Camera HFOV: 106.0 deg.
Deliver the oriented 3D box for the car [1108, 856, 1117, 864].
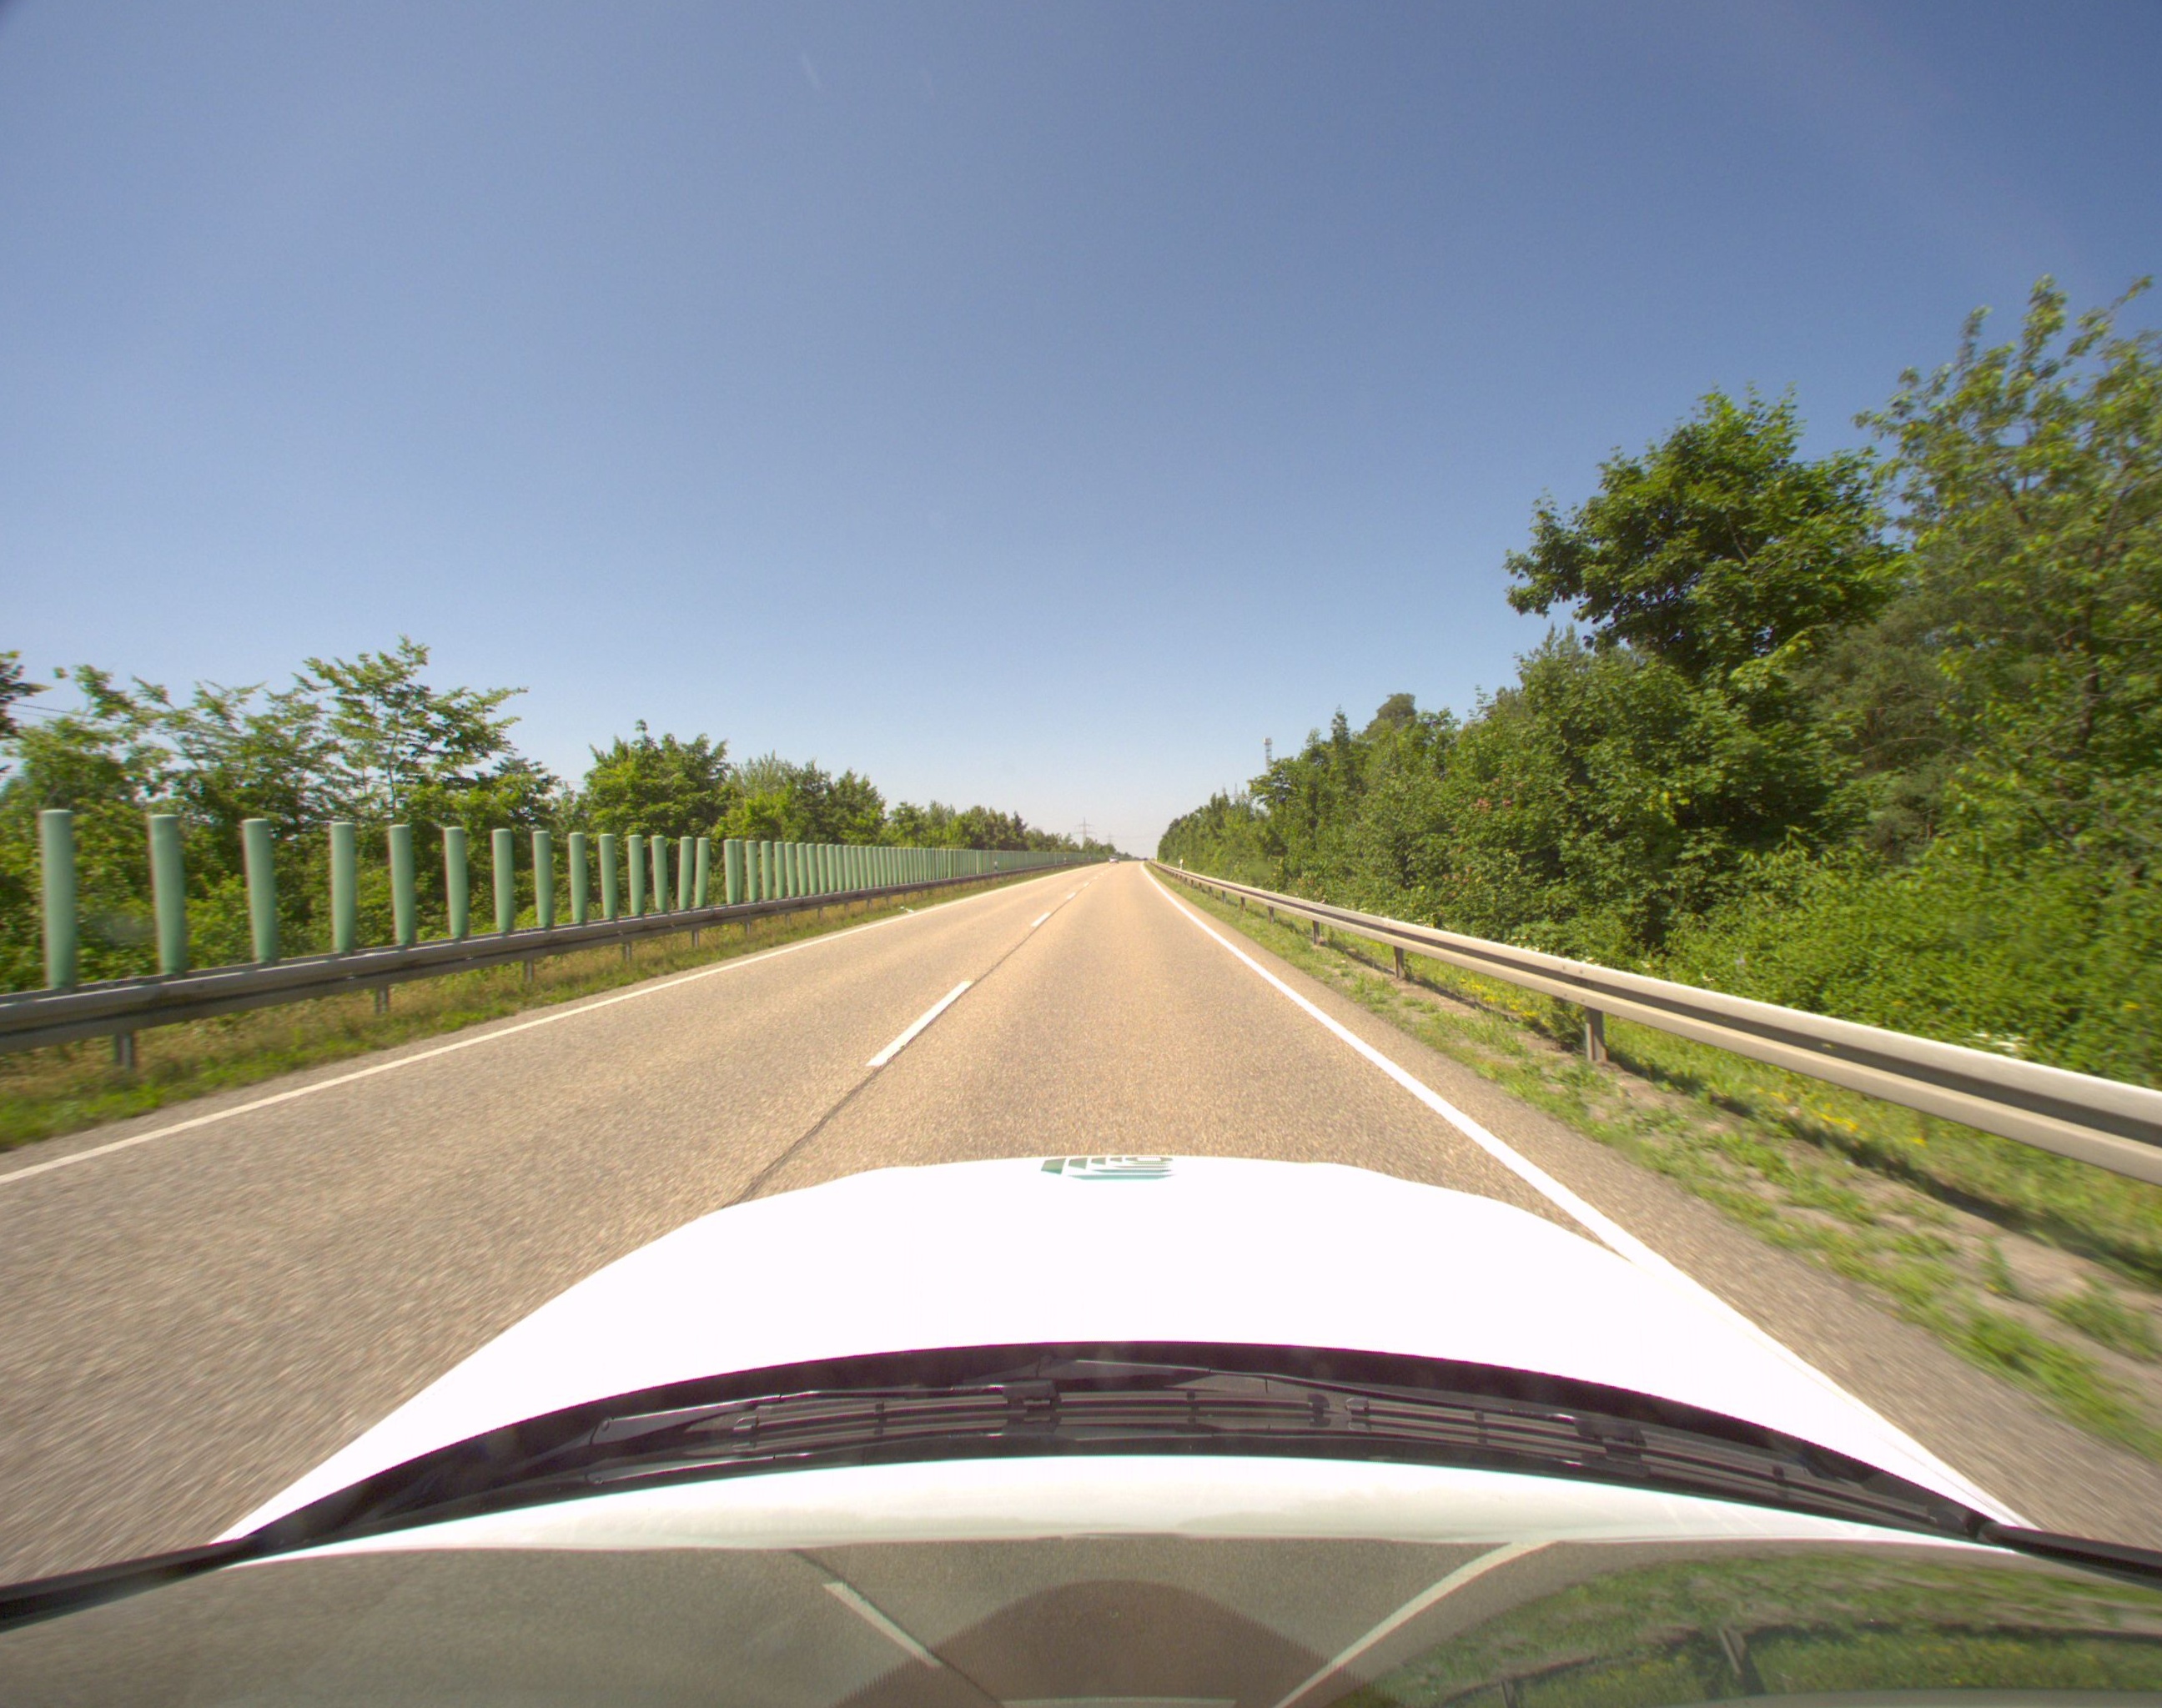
[{"bbox_3d":[6.518,1.190,167.921,1.713,1.501,4.252,-1,0,3],"label":"car"}]
